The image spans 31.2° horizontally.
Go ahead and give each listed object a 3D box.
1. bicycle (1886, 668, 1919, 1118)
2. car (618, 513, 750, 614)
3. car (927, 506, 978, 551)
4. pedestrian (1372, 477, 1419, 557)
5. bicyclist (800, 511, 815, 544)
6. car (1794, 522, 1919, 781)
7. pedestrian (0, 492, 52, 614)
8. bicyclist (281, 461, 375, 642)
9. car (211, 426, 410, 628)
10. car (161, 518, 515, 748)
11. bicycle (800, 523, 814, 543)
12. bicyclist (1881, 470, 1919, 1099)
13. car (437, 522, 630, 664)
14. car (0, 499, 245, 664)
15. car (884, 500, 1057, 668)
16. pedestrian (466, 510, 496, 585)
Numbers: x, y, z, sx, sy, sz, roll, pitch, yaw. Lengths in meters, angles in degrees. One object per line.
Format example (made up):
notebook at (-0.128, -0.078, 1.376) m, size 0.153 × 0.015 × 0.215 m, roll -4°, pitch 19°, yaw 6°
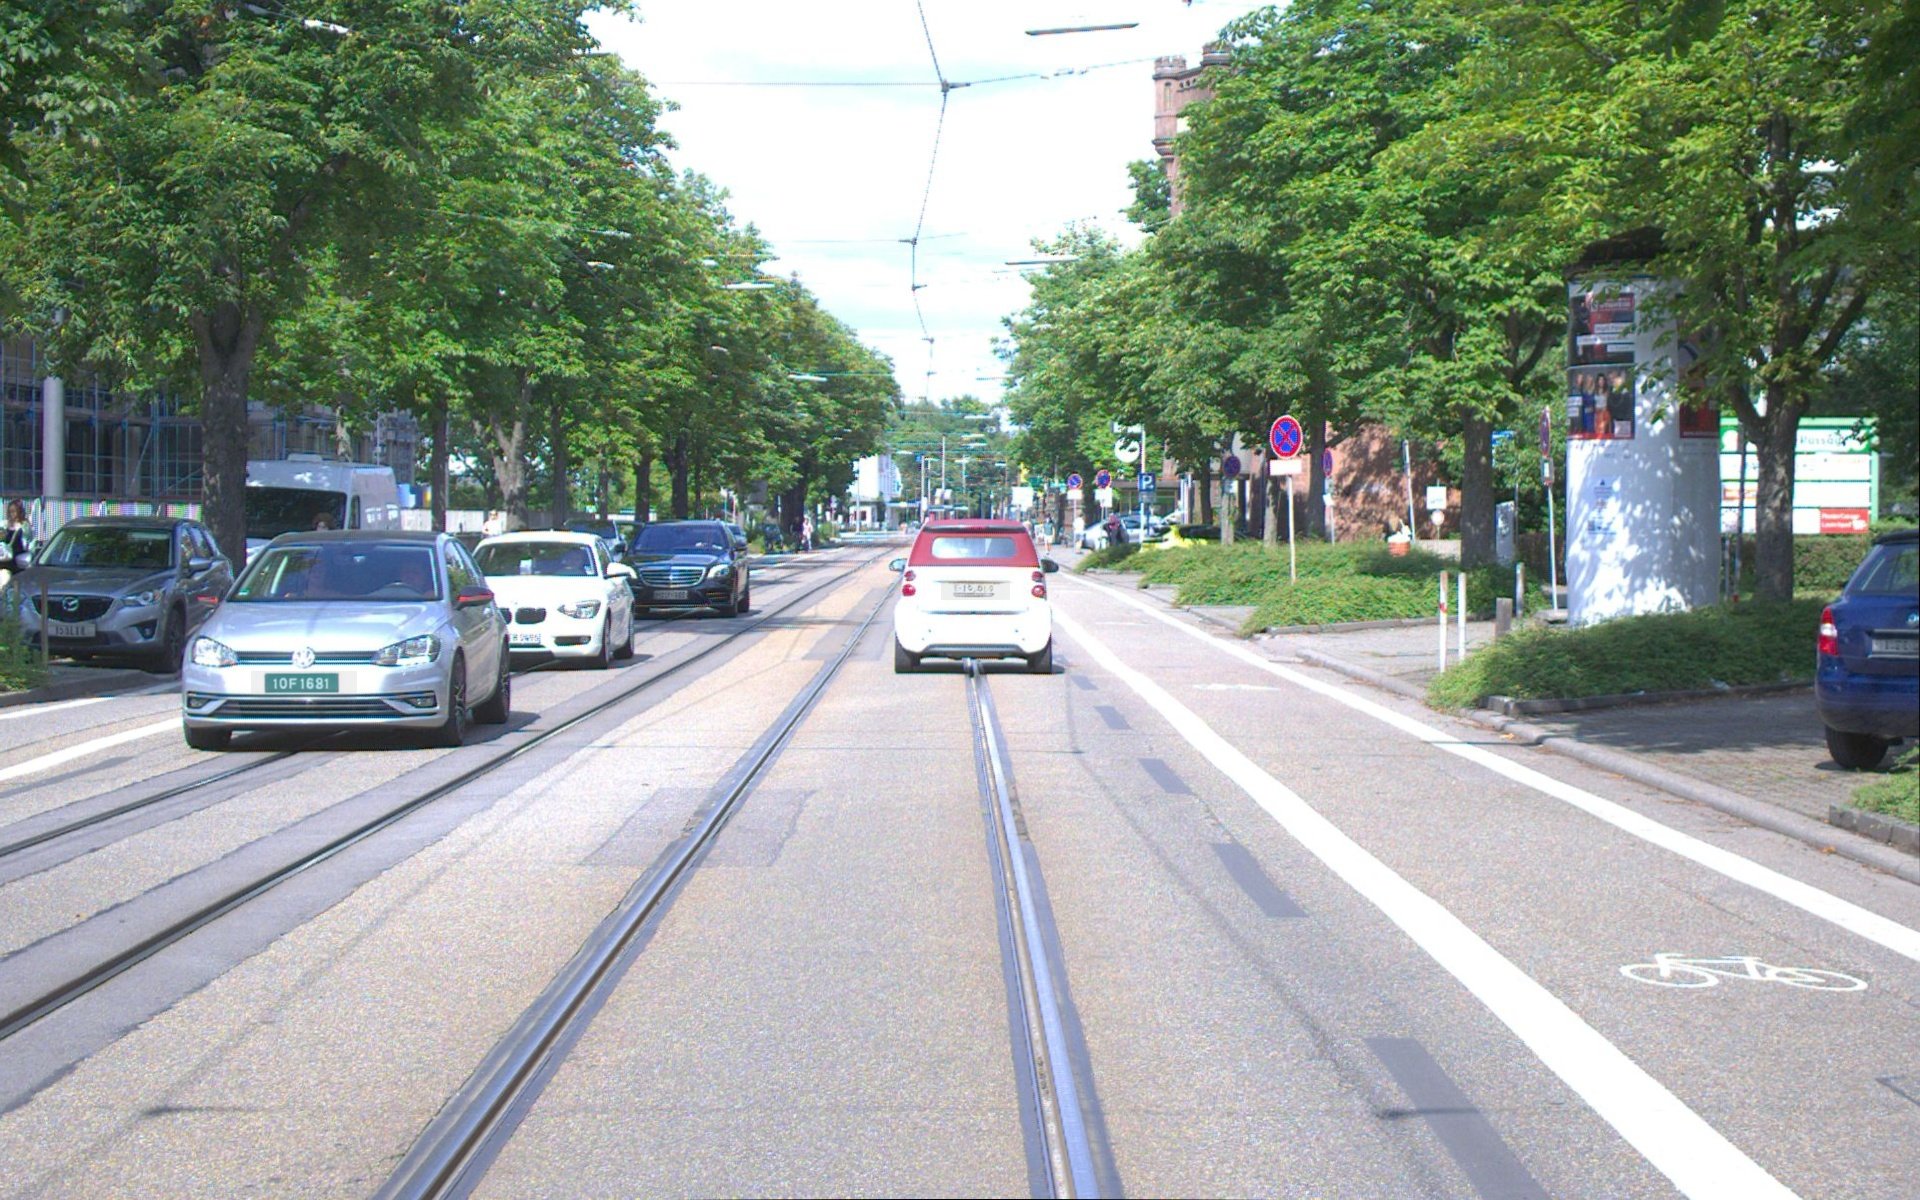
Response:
bicycle at (2.837, 0.787, 8.123) m, size 0.875 × 1.122 × 2.136 m, roll 2°, pitch 2°, yaw 6°
car at (-4.319, -0.599, 54.344) m, size 1.800 × 1.503 × 4.537 m, roll 1°, pitch 1°, yaw -1°
car at (-0.261, -2.432, 116.824) m, size 1.665 × 1.487 × 3.621 m, roll 1°, pitch 2°, yaw -1°
pedestrian at (11.123, -2.116, 87.762) m, size 0.977 × 2.007 × 1.093 m, roll 2°, pitch 1°, yaw -1°
bicyclist at (-7.394, -3.517, 166.421) m, size 0.658 × 1.574 × 0.946 m, roll 2°, pitch 1°, yaw -2°
car at (6.908, 0.245, 21.210) m, size 1.615 × 1.481 × 3.990 m, roll 0°, pitch 2°, yaw 44°
pedestrian at (-12.639, -0.631, 46.012) m, size 0.764 × 1.614 × 0.594 m, roll 2°, pitch 1°, yaw 0°
bicyclist at (-7.164, -0.550, 39.008) m, size 0.876 × 2.007 × 0.834 m, roll -2°, pitch 0°, yaw -1°
car at (-9.056, -1.018, 48.316) m, size 1.769 × 2.630 × 5.323 m, roll 2°, pitch 1°, yaw -1°
car at (-4.189, 0.171, 23.712) m, size 1.773 × 1.411 × 3.852 m, roll -1°, pitch 1°, yaw -1°
bicycle at (-7.417, -3.240, 166.588) m, size 0.618 × 0.970 × 1.717 m, roll 0°, pitch 1°, yaw -1°
bicyclist at (2.785, 0.456, 8.266) m, size 0.890 × 1.523 × 1.085 m, roll 2°, pitch 1°, yaw 6°
car at (-4.551, -0.106, 36.258) m, size 1.686 × 1.400 × 4.228 m, roll 0°, pitch 1°, yaw -11°
car at (-9.171, -0.233, 37.655) m, size 1.804 × 1.656 × 4.103 m, roll 2°, pitch 1°, yaw 0°
car at (0.061, -0.208, 35.294) m, size 1.665 × 1.619 × 3.621 m, roll 0°, pitch 2°, yaw -2°
pedestrian at (-12.987, -1.428, 93.182) m, size 0.802 × 2.007 × 0.485 m, roll 0°, pitch 1°, yaw -9°
